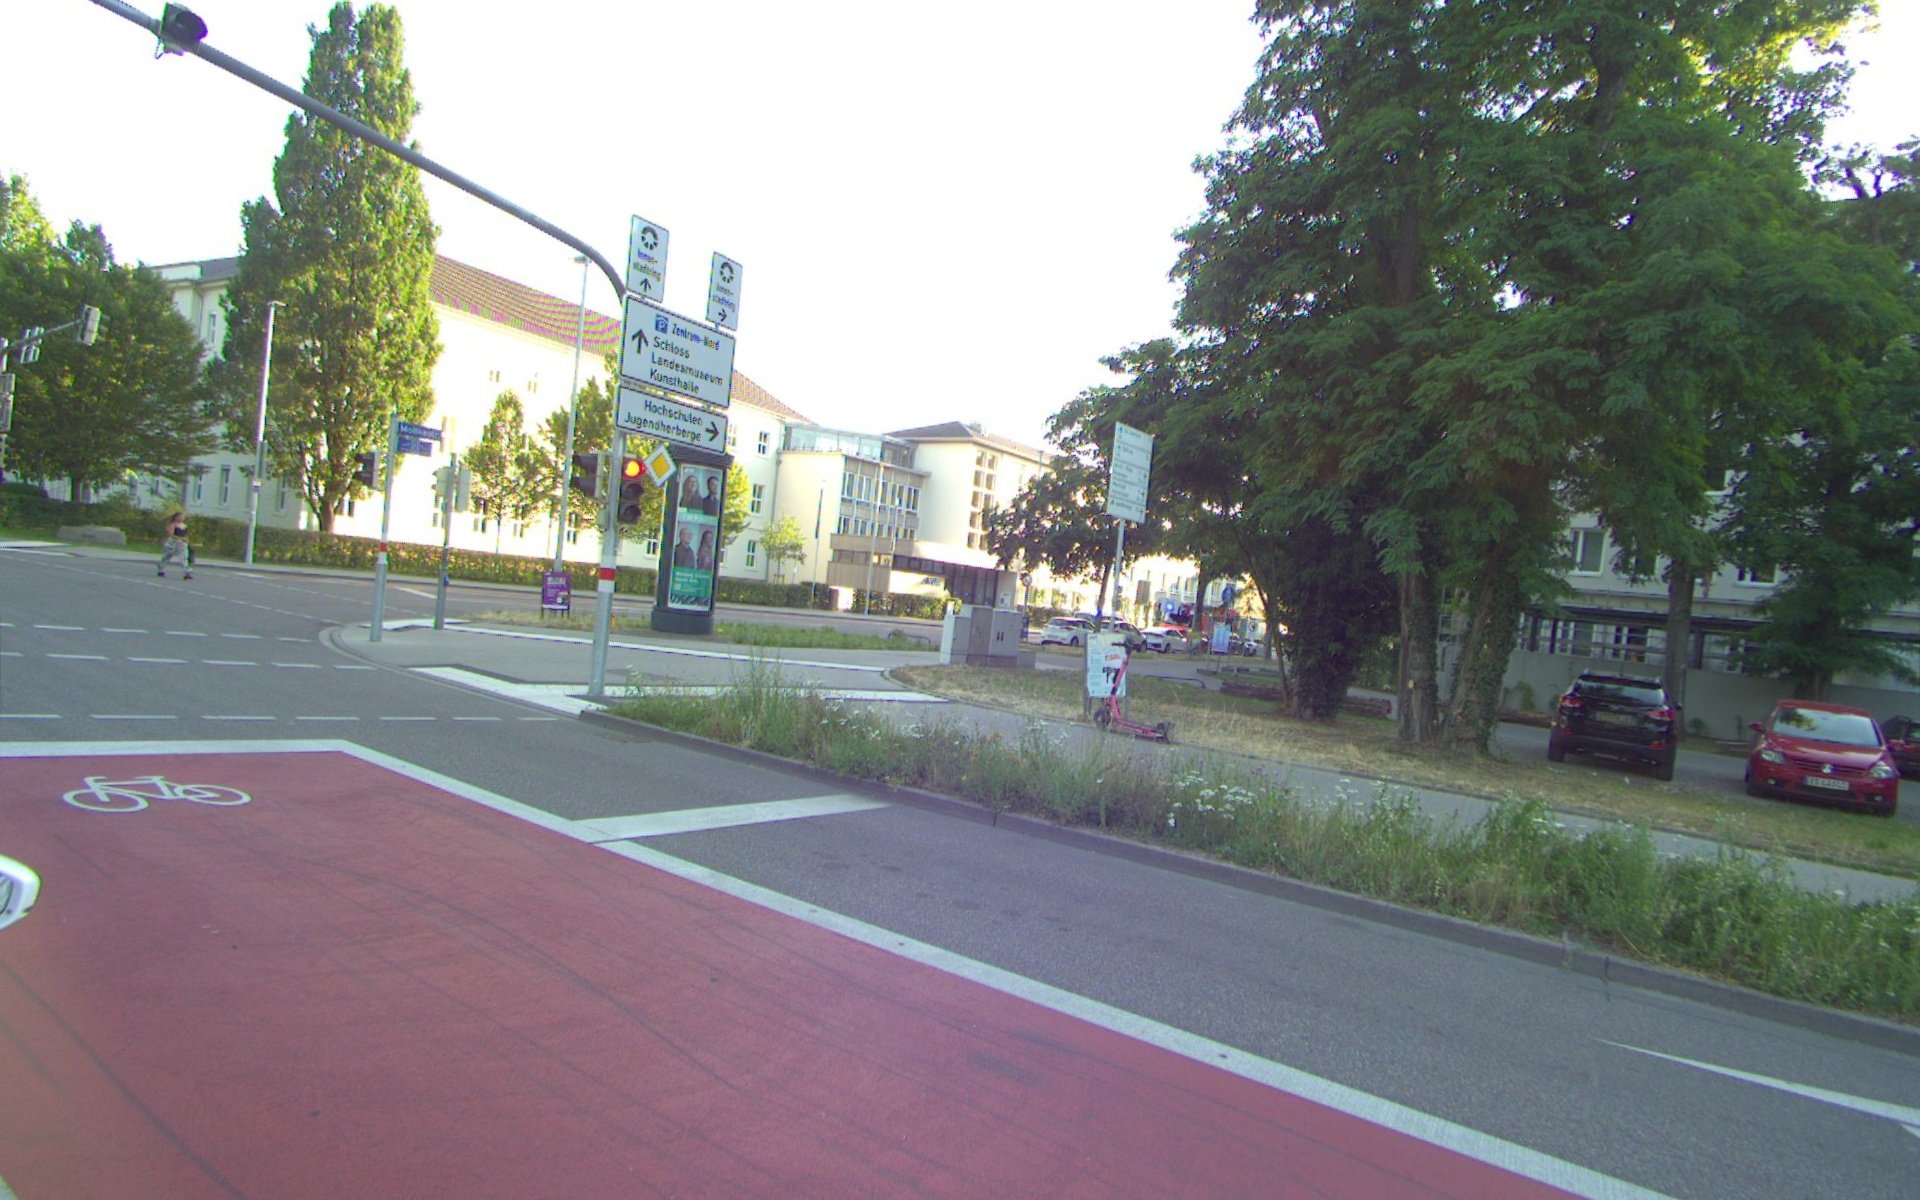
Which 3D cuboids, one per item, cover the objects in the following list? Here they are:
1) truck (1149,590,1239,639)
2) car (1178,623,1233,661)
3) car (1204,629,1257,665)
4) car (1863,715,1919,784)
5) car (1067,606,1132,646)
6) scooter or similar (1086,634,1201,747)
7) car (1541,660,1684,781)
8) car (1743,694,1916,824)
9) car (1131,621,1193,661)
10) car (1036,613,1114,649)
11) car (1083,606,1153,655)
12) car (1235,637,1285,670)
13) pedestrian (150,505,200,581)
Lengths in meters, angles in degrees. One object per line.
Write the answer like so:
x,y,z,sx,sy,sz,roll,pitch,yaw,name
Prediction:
15.862,1.058,67.463,2.327,2.315,10.049,7,-1,34,truck
14.608,2.492,59.729,1.698,1.879,3.989,7,-1,35,car
17.224,3.028,63.858,1.789,1.893,4.136,7,-1,35,car
23.178,3.619,24.032,1.873,1.459,3.987,7,-1,37,car
7.707,1.452,55.340,1.720,1.783,3.989,7,-1,35,car
2.327,1.135,12.808,1.289,1.247,0.311,7,1,32,scooter or similar
11.763,2.109,18.065,1.808,1.715,3.899,7,-1,36,car
13.992,2.453,16.403,1.759,1.581,3.984,7,0,38,car
11.074,2.266,55.106,1.720,1.783,3.989,7,-1,35,car
5.478,1.489,47.709,1.793,1.358,3.985,6,0,37,car
8.066,1.582,51.189,1.713,2.038,3.988,7,-1,36,car
20.373,3.653,68.236,1.873,1.831,3.988,7,-1,36,car
-18.234,-1.327,23.376,0.680,1.656,0.600,8,1,34,pedestrian
